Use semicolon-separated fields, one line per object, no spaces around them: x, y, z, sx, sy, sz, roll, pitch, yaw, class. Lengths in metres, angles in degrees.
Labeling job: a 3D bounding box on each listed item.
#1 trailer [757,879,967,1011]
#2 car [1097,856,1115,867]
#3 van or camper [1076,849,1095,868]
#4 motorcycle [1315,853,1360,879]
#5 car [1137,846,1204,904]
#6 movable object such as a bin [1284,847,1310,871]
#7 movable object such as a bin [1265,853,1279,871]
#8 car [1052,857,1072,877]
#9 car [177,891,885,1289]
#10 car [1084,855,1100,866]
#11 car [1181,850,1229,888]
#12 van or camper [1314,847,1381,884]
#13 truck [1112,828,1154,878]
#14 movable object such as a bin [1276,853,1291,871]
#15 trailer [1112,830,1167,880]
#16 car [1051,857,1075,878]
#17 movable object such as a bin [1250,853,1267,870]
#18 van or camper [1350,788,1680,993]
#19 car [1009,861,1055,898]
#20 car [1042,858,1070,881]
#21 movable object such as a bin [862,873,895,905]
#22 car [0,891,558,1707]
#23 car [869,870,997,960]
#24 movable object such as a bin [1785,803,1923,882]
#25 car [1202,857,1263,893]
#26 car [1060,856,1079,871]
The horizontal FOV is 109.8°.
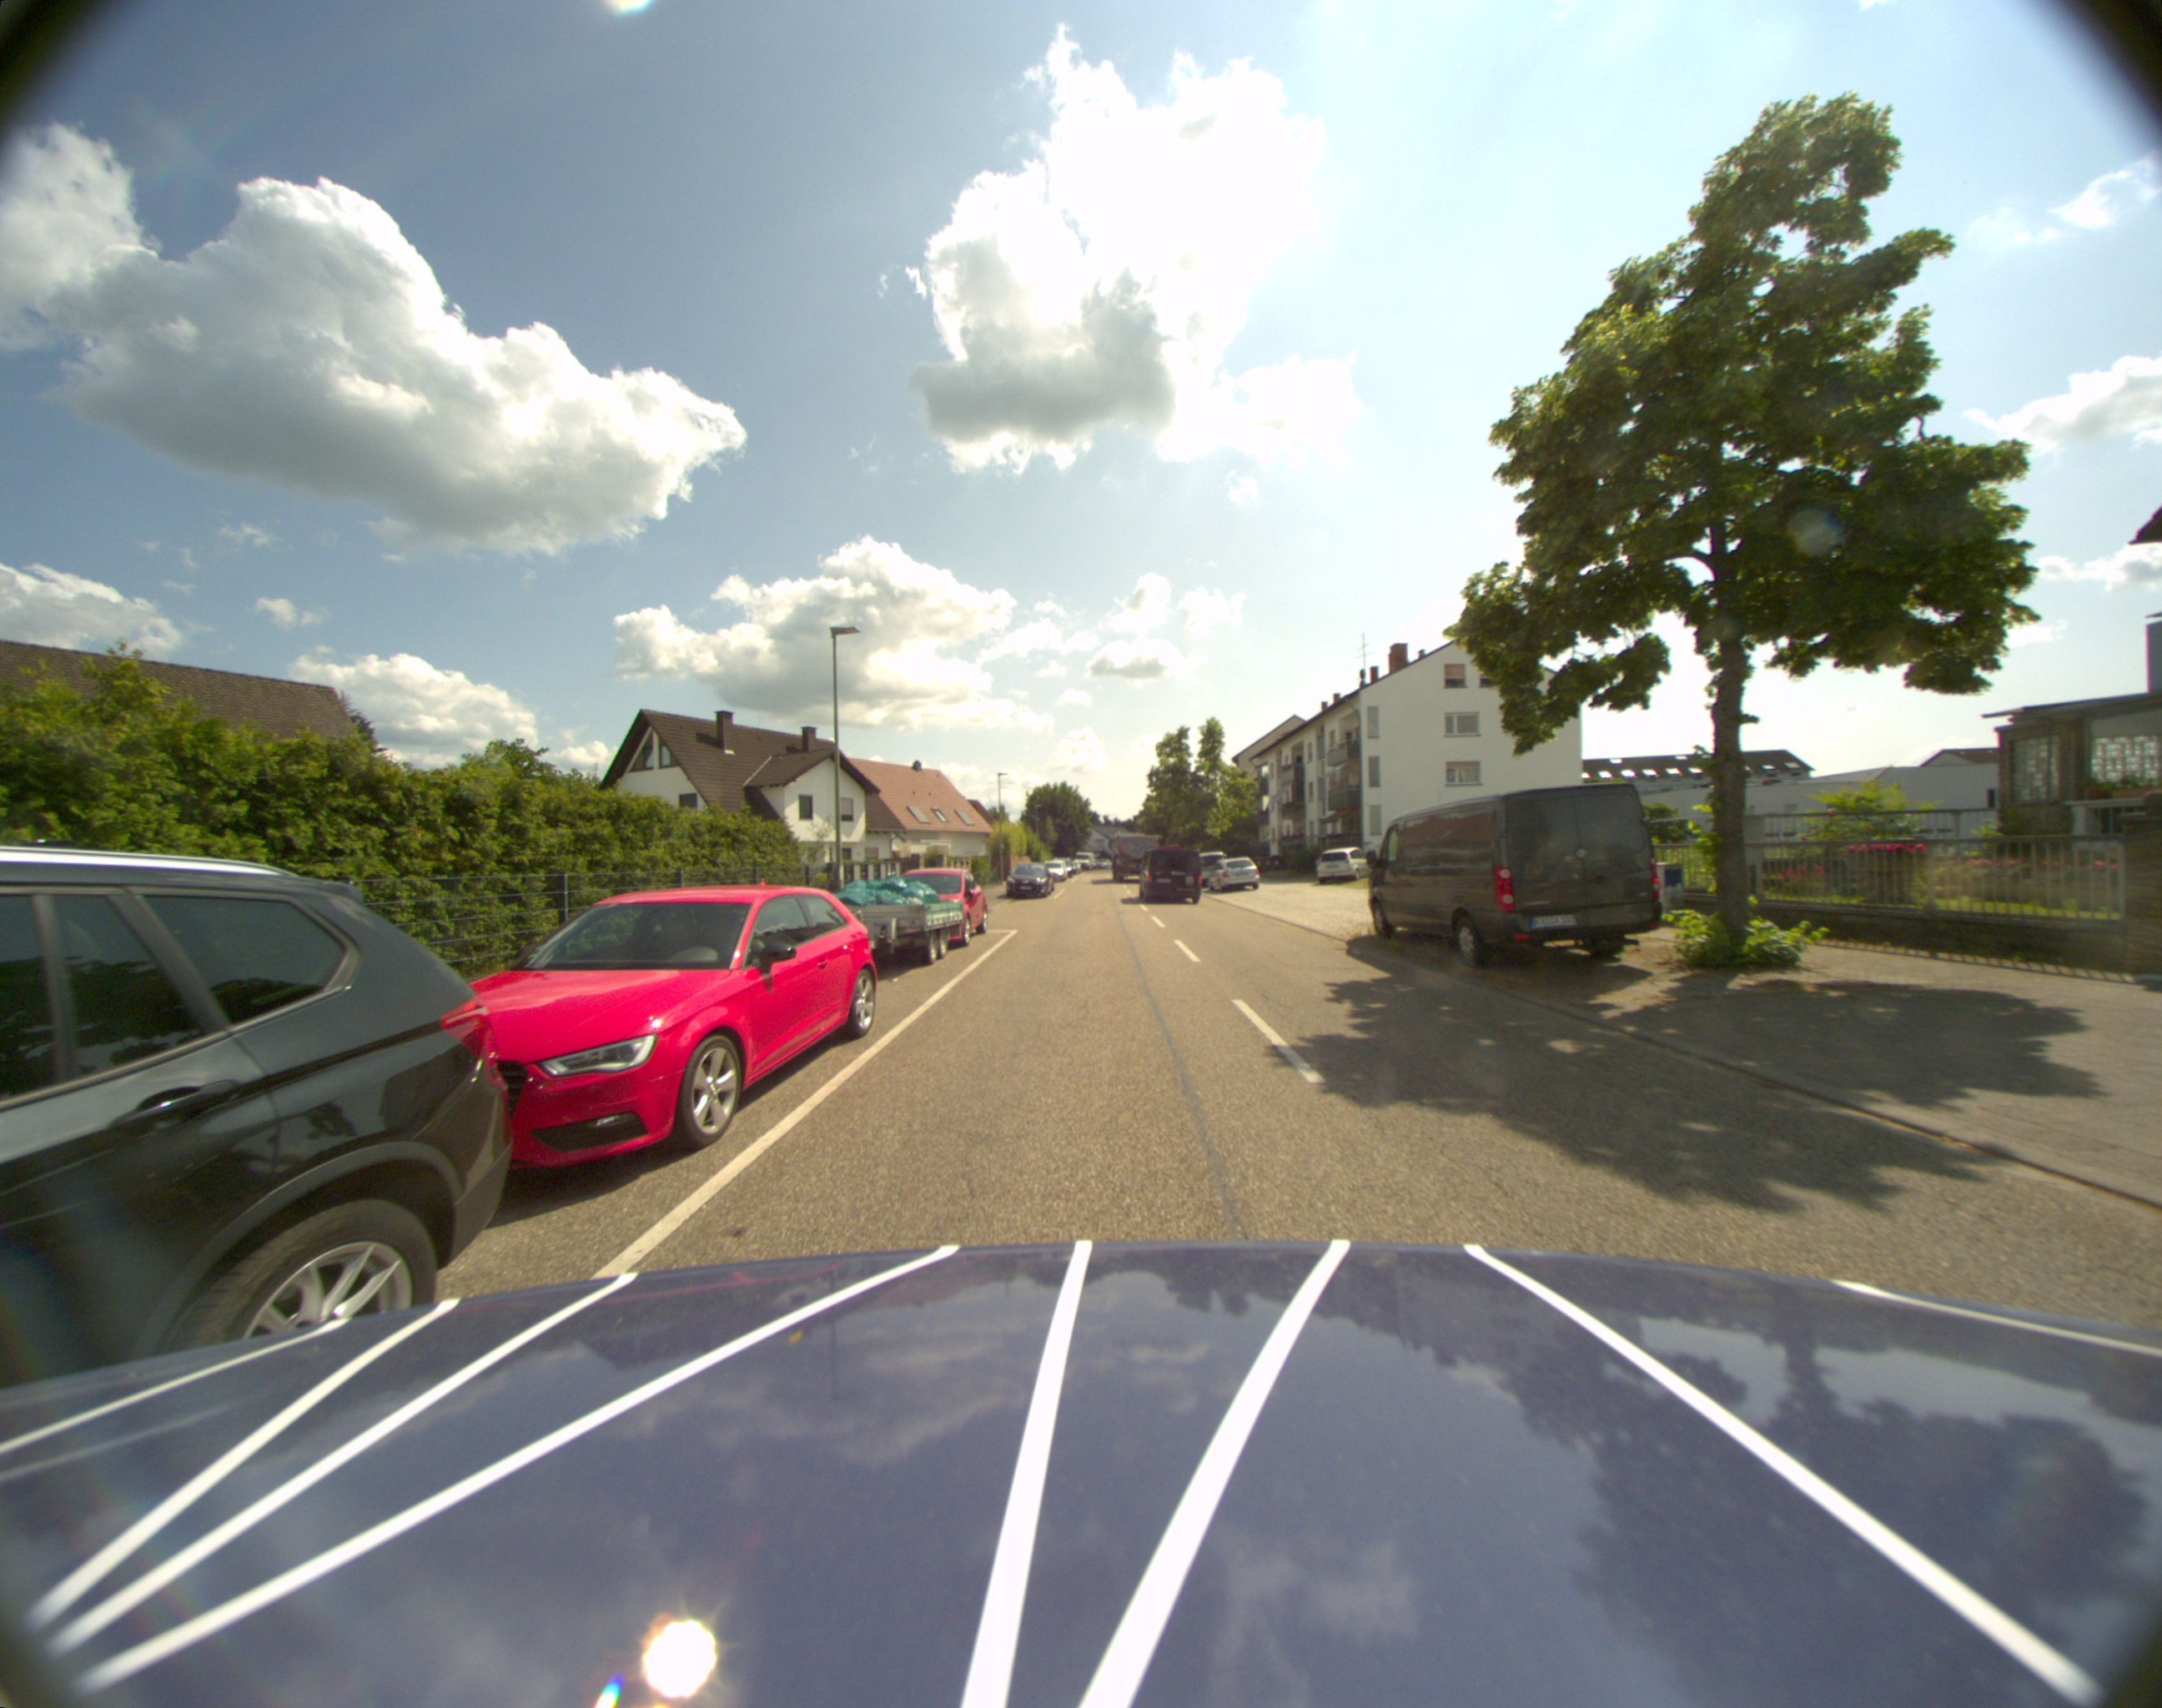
-2.931;1.151;11.201;1.612;1.370;4.433;-2;0;2;trailer
3.762;1.080;112.356;1.817;1.513;4.269;0;0;13;car
0.634;0.556;98.072;1.972;2.345;5.761;0;0;5;van or camper
13.441;0.637;39.838;2.098;1.242;0.678;-3;0;2;motorcycle
3.296;0.733;29.040;2.056;2.022;5.142;1;0;1;car
14.205;0.318;49.920;1.274;1.374;1.266;-4;-5;1;movable object such as a bin
13.293;0.576;52.944;0.752;1.206;0.806;-2;-2;1;movable object such as a bin
-1.526;1.024;61.573;1.446;1.496;3.671;-3;0;0;car
-2.839;1.094;5.236;1.688;1.427;4.146;-2;0;3;car
1.537;0.872;105.798;1.683;1.513;4.065;0;0;9;car
6.678;0.781;41.431;1.814;1.795;4.491;-4;0;1;car
12.693;0.541;36.058;1.776;1.534;4.007;-3;0;37;van or camper
3.782;-0.061;56.457;2.780;3.478;5.881;-1;0;0;truck
14.087;0.563;52.894;0.752;1.206;0.806;-2;-2;1;movable object such as a bin
3.817;0.073;51.652;2.841;3.051;8.888;-1;0;-1;trailer
-1.580;1.136;66.737;1.896;1.763;4.709;-1;0;1;car
12.370;0.533;52.977;0.956;1.142;0.825;-2;-2;1;movable object such as a bin
6.195;0.427;11.991;1.998;2.303;5.935;-4;0;4;van or camper
-2.107;1.082;33.861;1.748;1.541;4.121;0;0;0;car
-1.803;1.122;55.616;1.749;1.543;4.292;-2;0;1;car
-7.138;1.229;26.798;0.776;1.052;0.768;-1;0;18;movable object such as a bin
-2.915;0.986;0.503;1.834;1.652;4.554;-1;0;2;car
-2.890;1.130;15.850;1.696;1.454;4.755;-2;0;0;car
15.816;-0.190;15.632;1.310;1.422;1.606;-1;-6;18;movable object such as a bin
7.017;0.961;35.726;1.753;1.452;4.709;-5;-1;-1;car
-1.172;0.973;78.134;1.731;1.496;4.296;0;0;2;car
